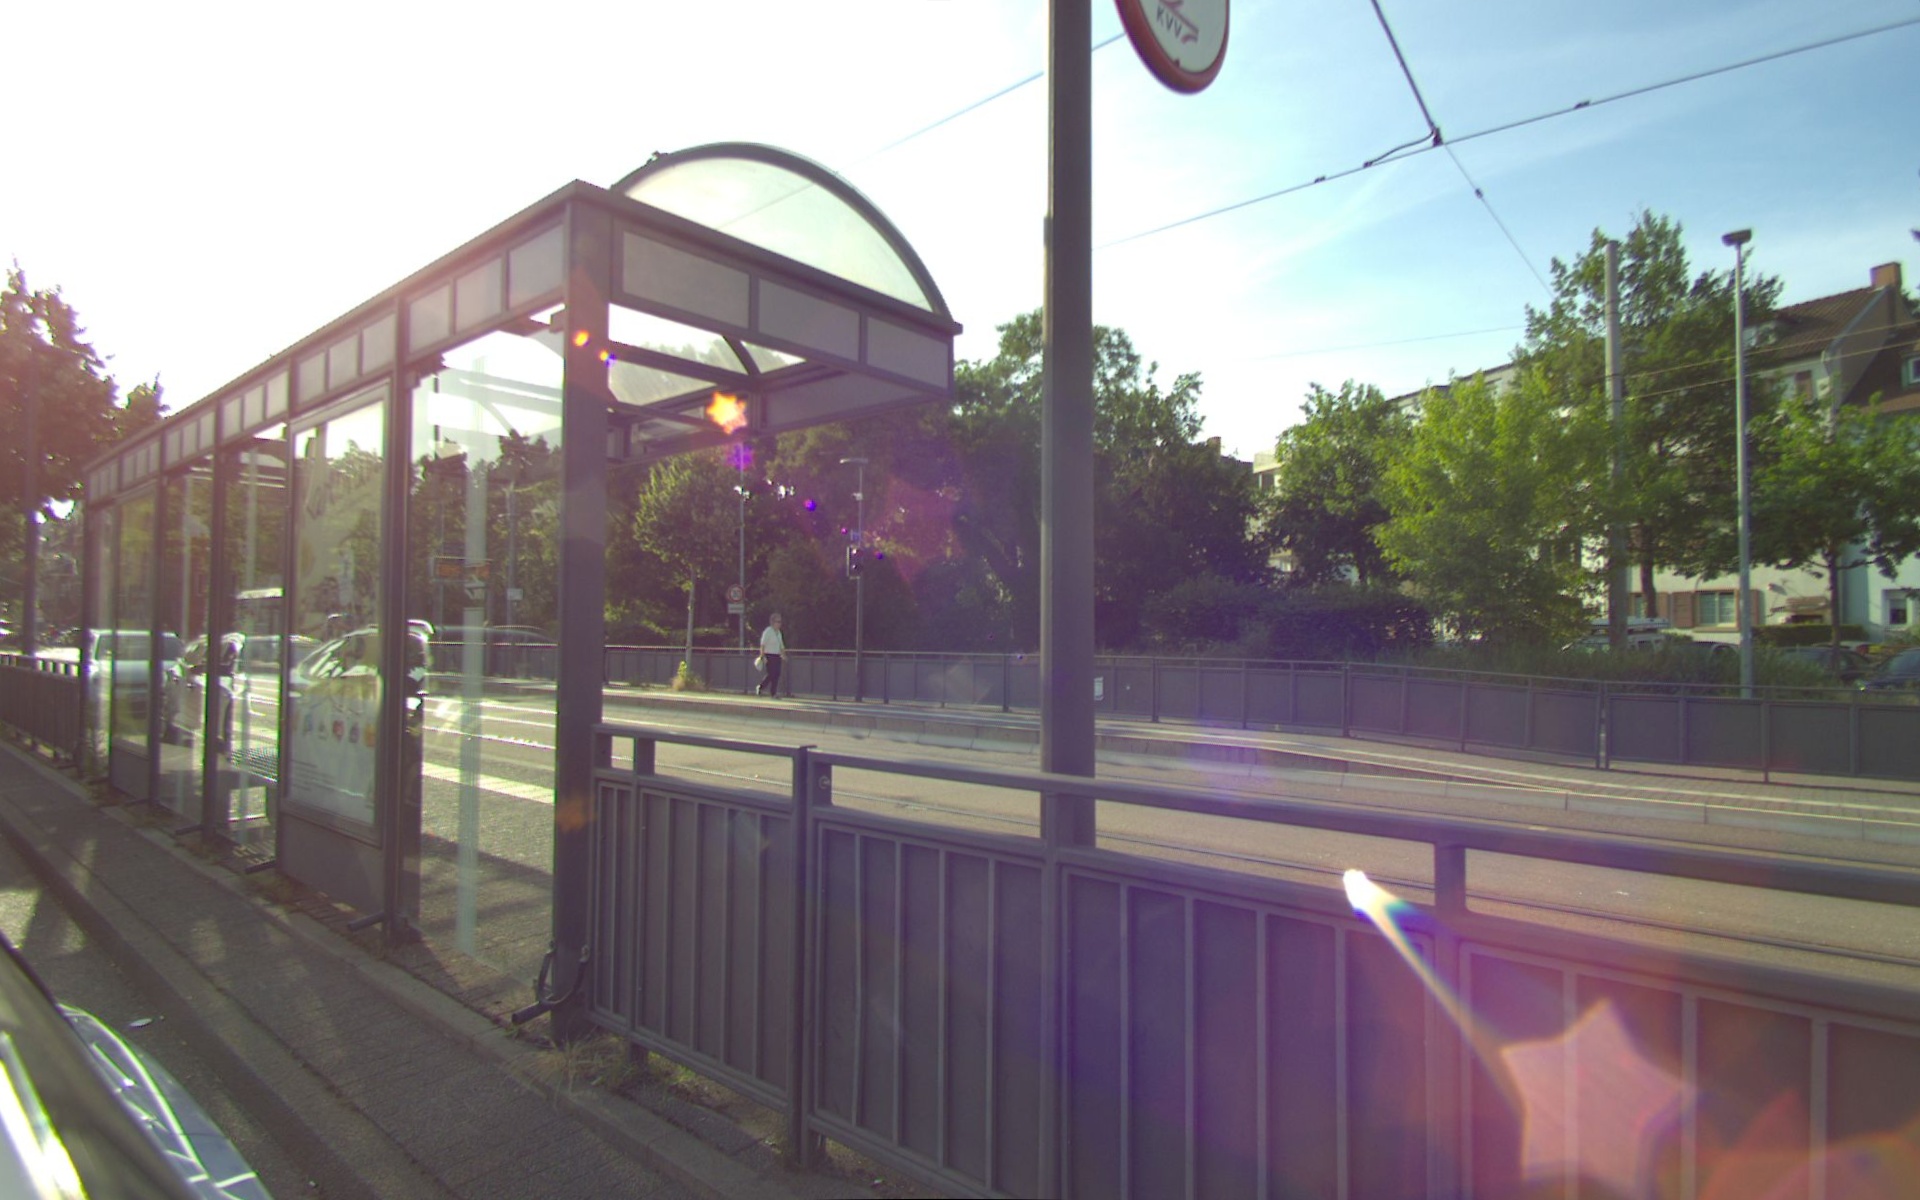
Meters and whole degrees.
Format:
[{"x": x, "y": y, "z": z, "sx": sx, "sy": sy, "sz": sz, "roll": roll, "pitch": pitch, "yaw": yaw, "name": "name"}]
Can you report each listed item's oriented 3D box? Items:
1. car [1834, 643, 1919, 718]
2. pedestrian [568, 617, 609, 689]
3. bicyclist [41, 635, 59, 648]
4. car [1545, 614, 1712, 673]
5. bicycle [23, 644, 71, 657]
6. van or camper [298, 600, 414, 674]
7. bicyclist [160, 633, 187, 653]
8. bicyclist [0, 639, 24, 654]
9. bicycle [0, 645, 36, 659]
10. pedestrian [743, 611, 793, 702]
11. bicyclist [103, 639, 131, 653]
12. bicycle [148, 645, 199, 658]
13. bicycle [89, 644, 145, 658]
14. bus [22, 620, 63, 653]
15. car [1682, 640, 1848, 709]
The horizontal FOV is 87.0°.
[{"x": 19.647, "y": 1.592, "z": 20.610, "sx": 3.935, "sy": 1.409, "sz": 2.004, "roll": 2, "pitch": -3, "yaw": -37, "name": "car"}, {"x": -9.026, "y": 1.298, "z": 24.608, "sx": 0.618, "sy": 1.697, "sz": 0.613, "roll": -2, "pitch": -6, "yaw": 41, "name": "pedestrian"}, {"x": -64.501, "y": 2.939, "z": 71.736, "sx": 0.884, "sy": 0.920, "sz": 0.617, "roll": 3, "pitch": -3, "yaw": -44, "name": "bicyclist"}, {"x": 18.110, "y": 1.186, "z": 27.435, "sx": 3.930, "sy": 1.497, "sz": 1.854, "roll": 1, "pitch": -3, "yaw": -22, "name": "car"}, {"x": -64.601, "y": 3.548, "z": 71.616, "sx": 0.631, "sy": 0.888, "sz": 2.502, "roll": -2, "pitch": -3, "yaw": 45, "name": "bicycle"}, {"x": -26.262, "y": 1.521, "z": 43.890, "sx": 6.408, "sy": 2.990, "sz": 2.494, "roll": -1, "pitch": 0, "yaw": 41, "name": "van or camper"}, {"x": -60.346, "y": 3.309, "z": 77.647, "sx": 0.887, "sy": 1.559, "sz": 1.384, "roll": -2, "pitch": -3, "yaw": 39, "name": "bicyclist"}, {"x": -64.691, "y": 3.165, "z": 68.997, "sx": 1.200, "sy": 1.032, "sz": 0.672, "roll": 3, "pitch": -3, "yaw": -45, "name": "bicyclist"}, {"x": -64.699, "y": 3.548, "z": 68.974, "sx": 0.631, "sy": 0.888, "sz": 2.502, "roll": -2, "pitch": -3, "yaw": 45, "name": "bicycle"}, {"x": -3.665, "y": 1.080, "z": 19.326, "sx": 0.618, "sy": 1.697, "sz": 0.613, "roll": -2, "pitch": -6, "yaw": 41, "name": "pedestrian"}, {"x": -60.322, "y": 3.272, "z": 72.410, "sx": 0.887, "sy": 1.014, "sz": 1.384, "roll": -2, "pitch": -3, "yaw": 39, "name": "bicyclist"}, {"x": -60.320, "y": 3.947, "z": 77.660, "sx": 0.878, "sy": 0.988, "sz": 2.925, "roll": -2, "pitch": -3, "yaw": 38, "name": "bicycle"}, {"x": -60.238, "y": 3.624, "z": 72.370, "sx": 0.878, "sy": 0.988, "sz": 2.925, "roll": -2, "pitch": -3, "yaw": 38, "name": "bicycle"}, {"x": -102.731, "y": 4.023, "z": 113.293, "sx": 9.258, "sy": 3.461, "sz": 2.405, "roll": -1, "pitch": 0, "yaw": 41, "name": "bus"}, {"x": 18.195, "y": 1.615, "z": 22.837, "sx": 3.935, "sy": 1.409, "sz": 2.004, "roll": 2, "pitch": -3, "yaw": -37, "name": "car"}]
